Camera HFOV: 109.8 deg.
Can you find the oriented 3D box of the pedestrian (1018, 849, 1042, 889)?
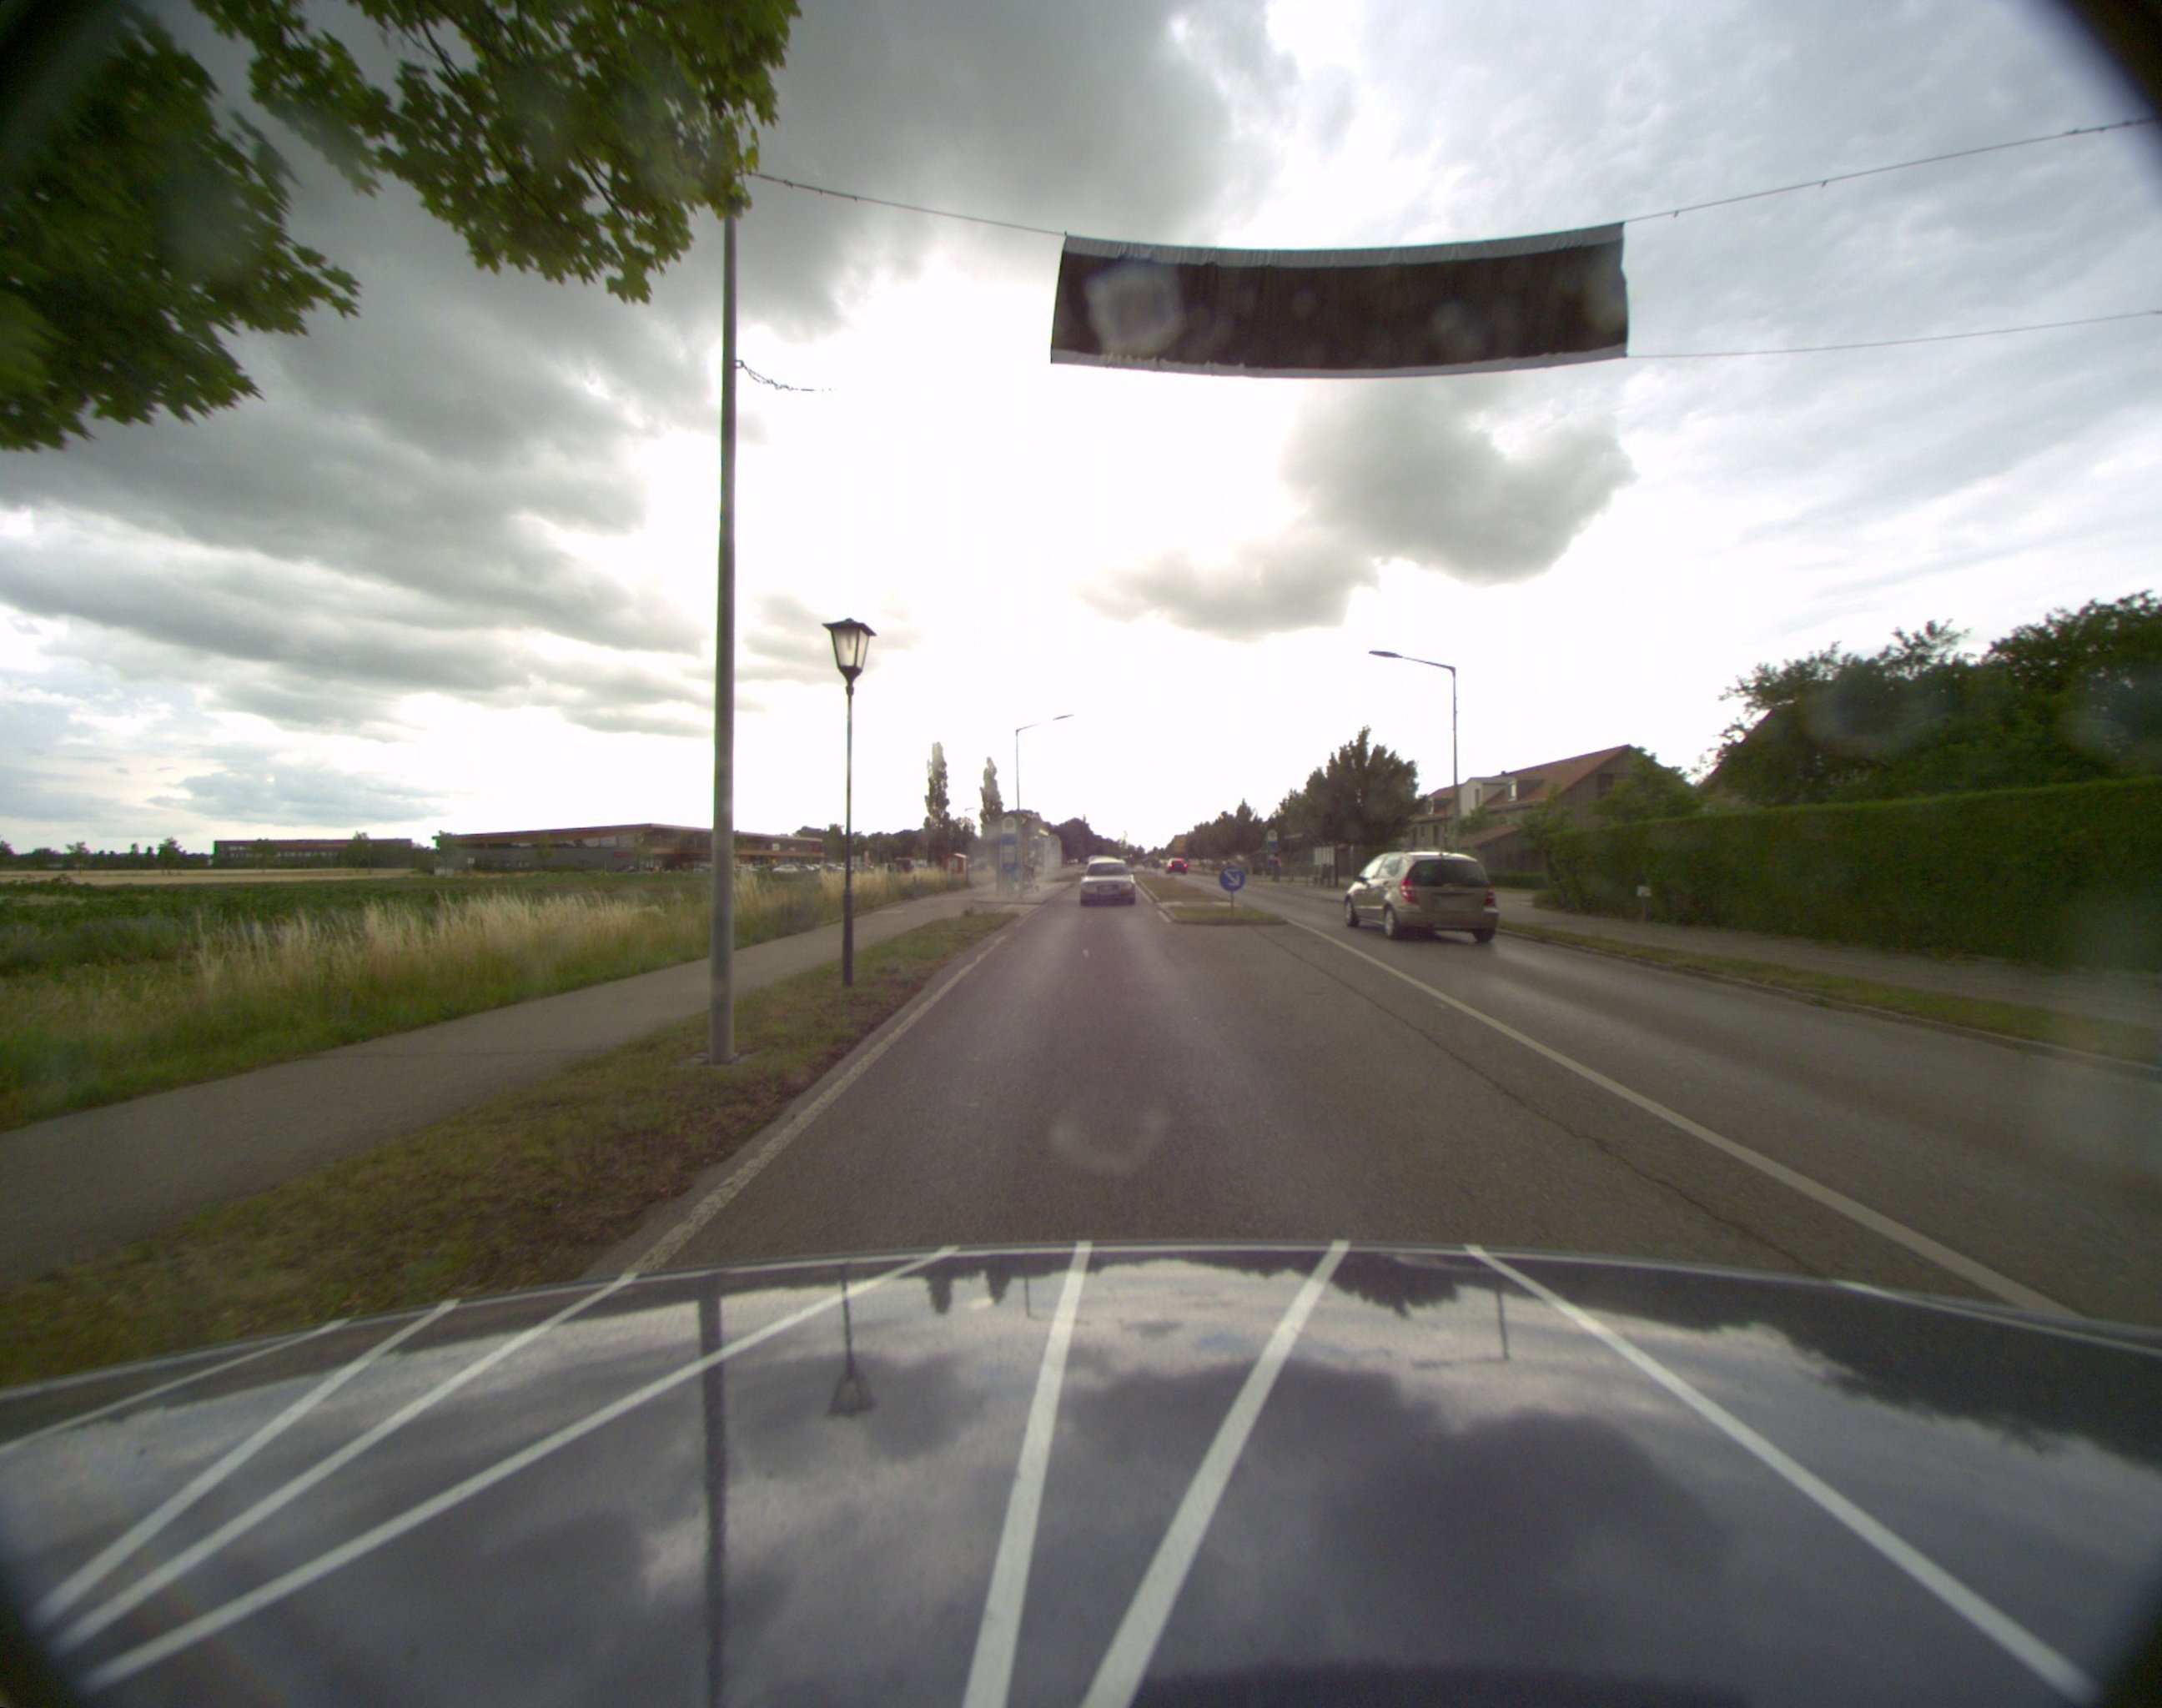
[{"bbox_3d":[-2.400,0.697,35.598,0.782,1.782,0.780,-2,1,23],"label":"pedestrian"}]

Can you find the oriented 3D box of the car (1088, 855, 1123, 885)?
[{"bbox_3d":[1.376,0.861,42.606,1.763,1.495,4.691,-3,0,2],"label":"car"}]

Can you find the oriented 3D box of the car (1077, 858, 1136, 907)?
[{"bbox_3d":[0.868,0.885,25.660,1.763,1.410,4.520,-3,0,2],"label":"car"}]

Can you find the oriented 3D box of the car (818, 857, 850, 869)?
[{"bbox_3d":[-43.378,1.567,133.579,4.857,2.002,1.999,-2,1,-6],"label":"car"}]

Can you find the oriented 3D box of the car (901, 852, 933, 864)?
[{"bbox_3d":[-30.895,0.814,143.510,5.526,2.002,1.999,-2,1,-4],"label":"car"}]

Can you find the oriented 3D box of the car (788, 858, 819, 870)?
[{"bbox_3d":[-50.044,1.813,137.151,4.857,2.002,1.999,-2,1,-6],"label":"car"}]

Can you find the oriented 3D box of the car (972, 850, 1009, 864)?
[{"bbox_3d":[-14.161,0.479,118.938,5.526,2.002,1.999,-2,1,-4],"label":"car"}]

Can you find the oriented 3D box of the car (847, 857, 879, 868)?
[{"bbox_3d":[-42.669,1.661,148.764,5.526,2.002,1.999,-2,1,-4],"label":"car"}]

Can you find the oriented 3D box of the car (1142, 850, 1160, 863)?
[{"bbox_3d":[11.527,0.442,125.141,2.560,2.002,5.318,-2,0,3],"label":"car"}]

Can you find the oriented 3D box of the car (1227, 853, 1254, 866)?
[{"bbox_3d":[28.844,1.008,137.283,4.567,2.002,2.001,-2,1,6],"label":"car"}]

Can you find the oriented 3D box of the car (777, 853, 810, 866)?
[{"bbox_3d":[-49.286,0.955,130.517,4.857,2.002,1.999,-2,1,-6],"label":"car"}]

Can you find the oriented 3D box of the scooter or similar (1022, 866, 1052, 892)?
[{"bbox_3d":[-1.852,1.047,32.219,0.707,1.056,1.062,-2,1,39],"label":"scooter or similar"}]

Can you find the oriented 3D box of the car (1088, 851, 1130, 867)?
[{"bbox_3d":[3.858,0.659,104.015,5.319,2.002,1.998,-2,1,-13],"label":"car"}]

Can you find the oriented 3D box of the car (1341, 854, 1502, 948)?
[{"bbox_3d":[6.271,0.780,14.413,1.710,1.523,3.509,1,0,5],"label":"car"}]

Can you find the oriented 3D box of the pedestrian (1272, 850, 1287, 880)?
[{"bbox_3d":[10.892,0.623,41.721,0.589,1.627,0.813,-1,0,2],"label":"pedestrian"}]

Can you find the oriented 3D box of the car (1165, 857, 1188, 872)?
[{"bbox_3d":[9.438,1.050,75.060,1.924,1.445,4.497,0,0,3],"label":"car"}]

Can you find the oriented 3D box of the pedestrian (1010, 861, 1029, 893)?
[{"bbox_3d":[-2.574,0.960,31.924,0.666,1.295,0.505,-3,1,2],"label":"pedestrian"}]
